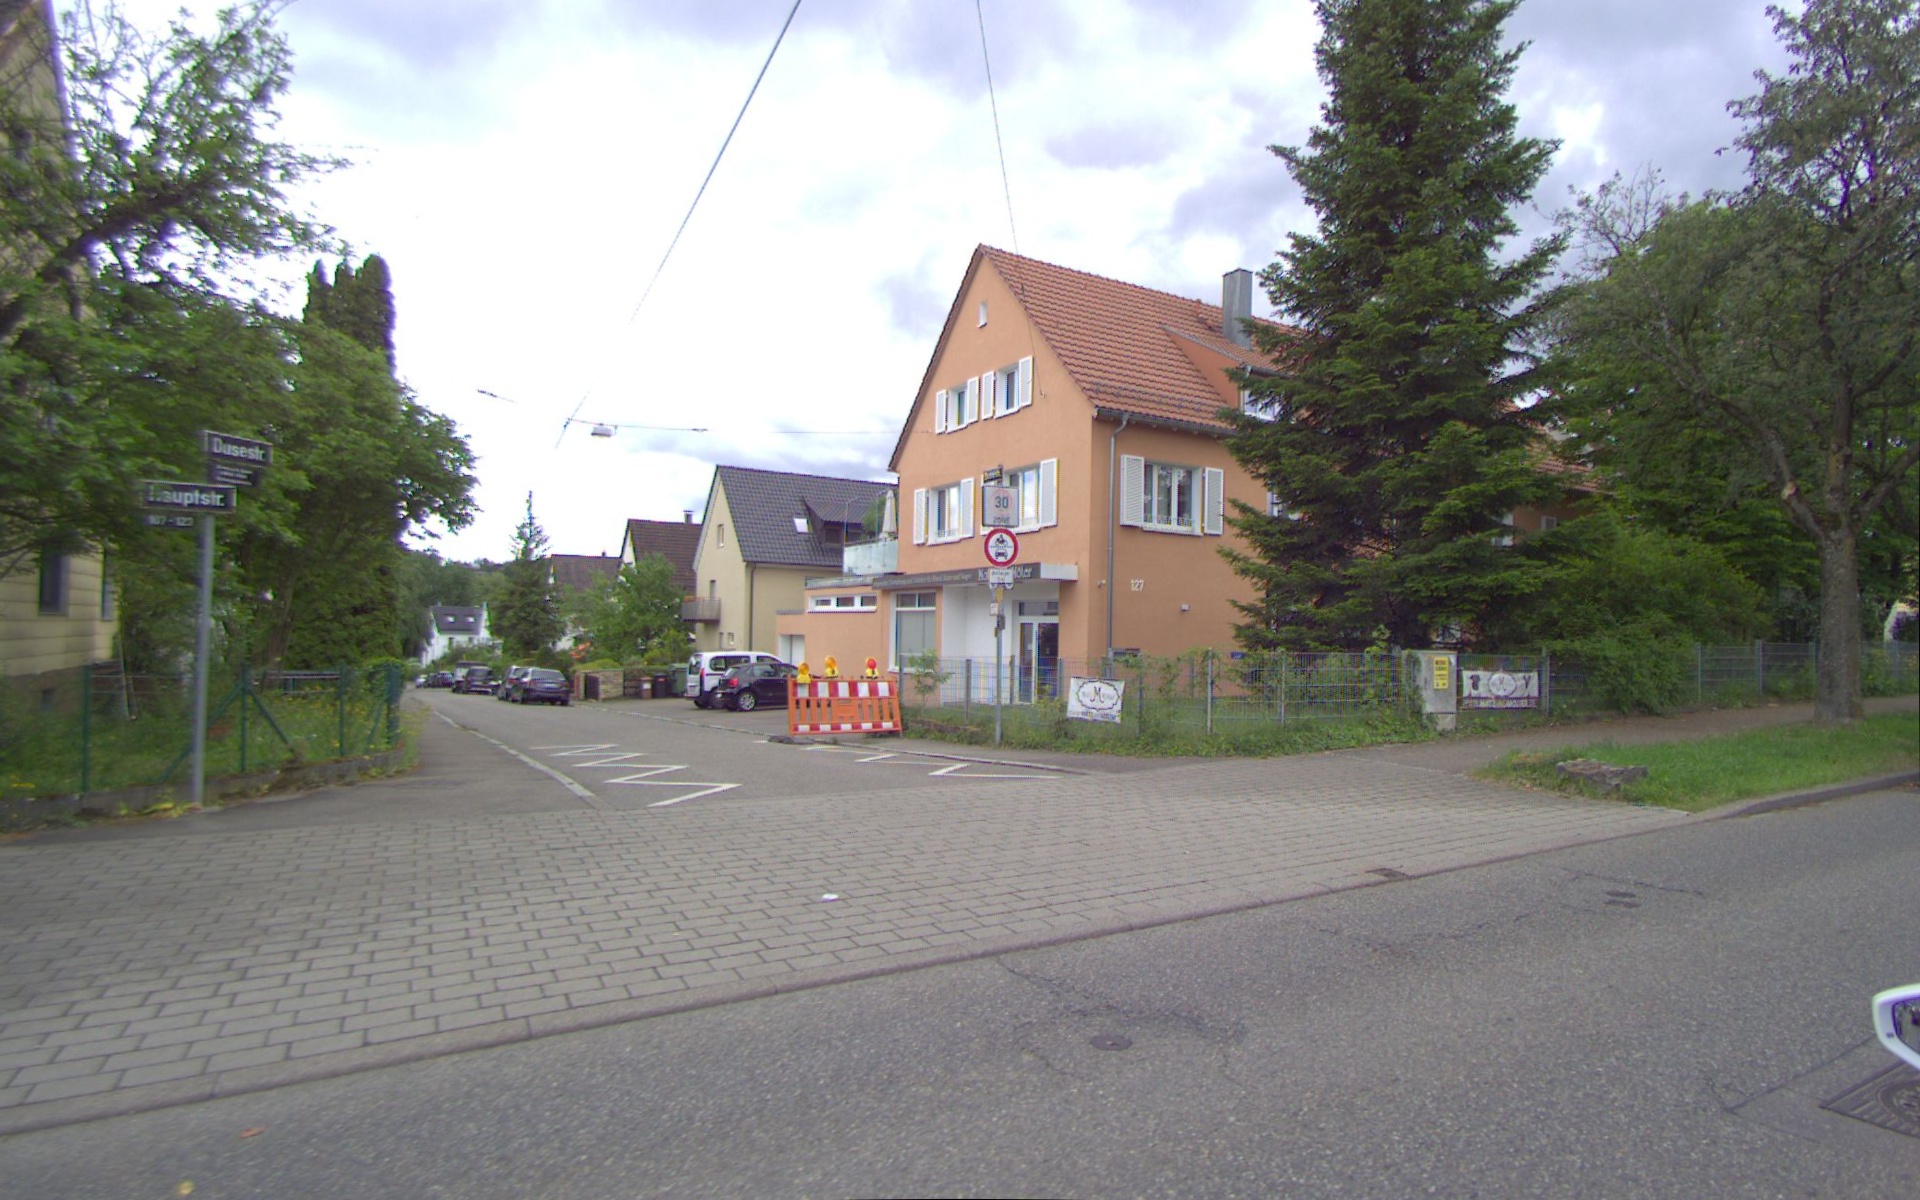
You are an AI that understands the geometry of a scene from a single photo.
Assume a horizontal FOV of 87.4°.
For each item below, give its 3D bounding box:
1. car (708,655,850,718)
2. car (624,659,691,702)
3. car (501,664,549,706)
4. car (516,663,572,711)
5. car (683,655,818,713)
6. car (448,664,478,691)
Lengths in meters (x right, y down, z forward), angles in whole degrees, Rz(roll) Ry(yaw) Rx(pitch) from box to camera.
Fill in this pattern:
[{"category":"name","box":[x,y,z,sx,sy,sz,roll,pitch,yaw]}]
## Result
[{"category":"car","box":[-5.583,2.616,31.041,3.953,1.784,1.848,1,-4,-30]},{"category":"car","box":[-13.346,3.487,44.152,1.872,1.639,3.966,1,-2,-31]},{"category":"car","box":[-19.769,3.812,45.569,1.642,1.795,3.376,1,-4,-30]},{"category":"car","box":[-16.816,3.471,40.506,1.671,1.795,3.376,1,-4,-30]},{"category":"car","box":[-6.909,2.736,33.196,4.012,1.784,1.812,1,-4,-30]},{"category":"car","box":[-34.257,5.304,69.235,1.615,1.795,3.376,1,-4,-30]}]
